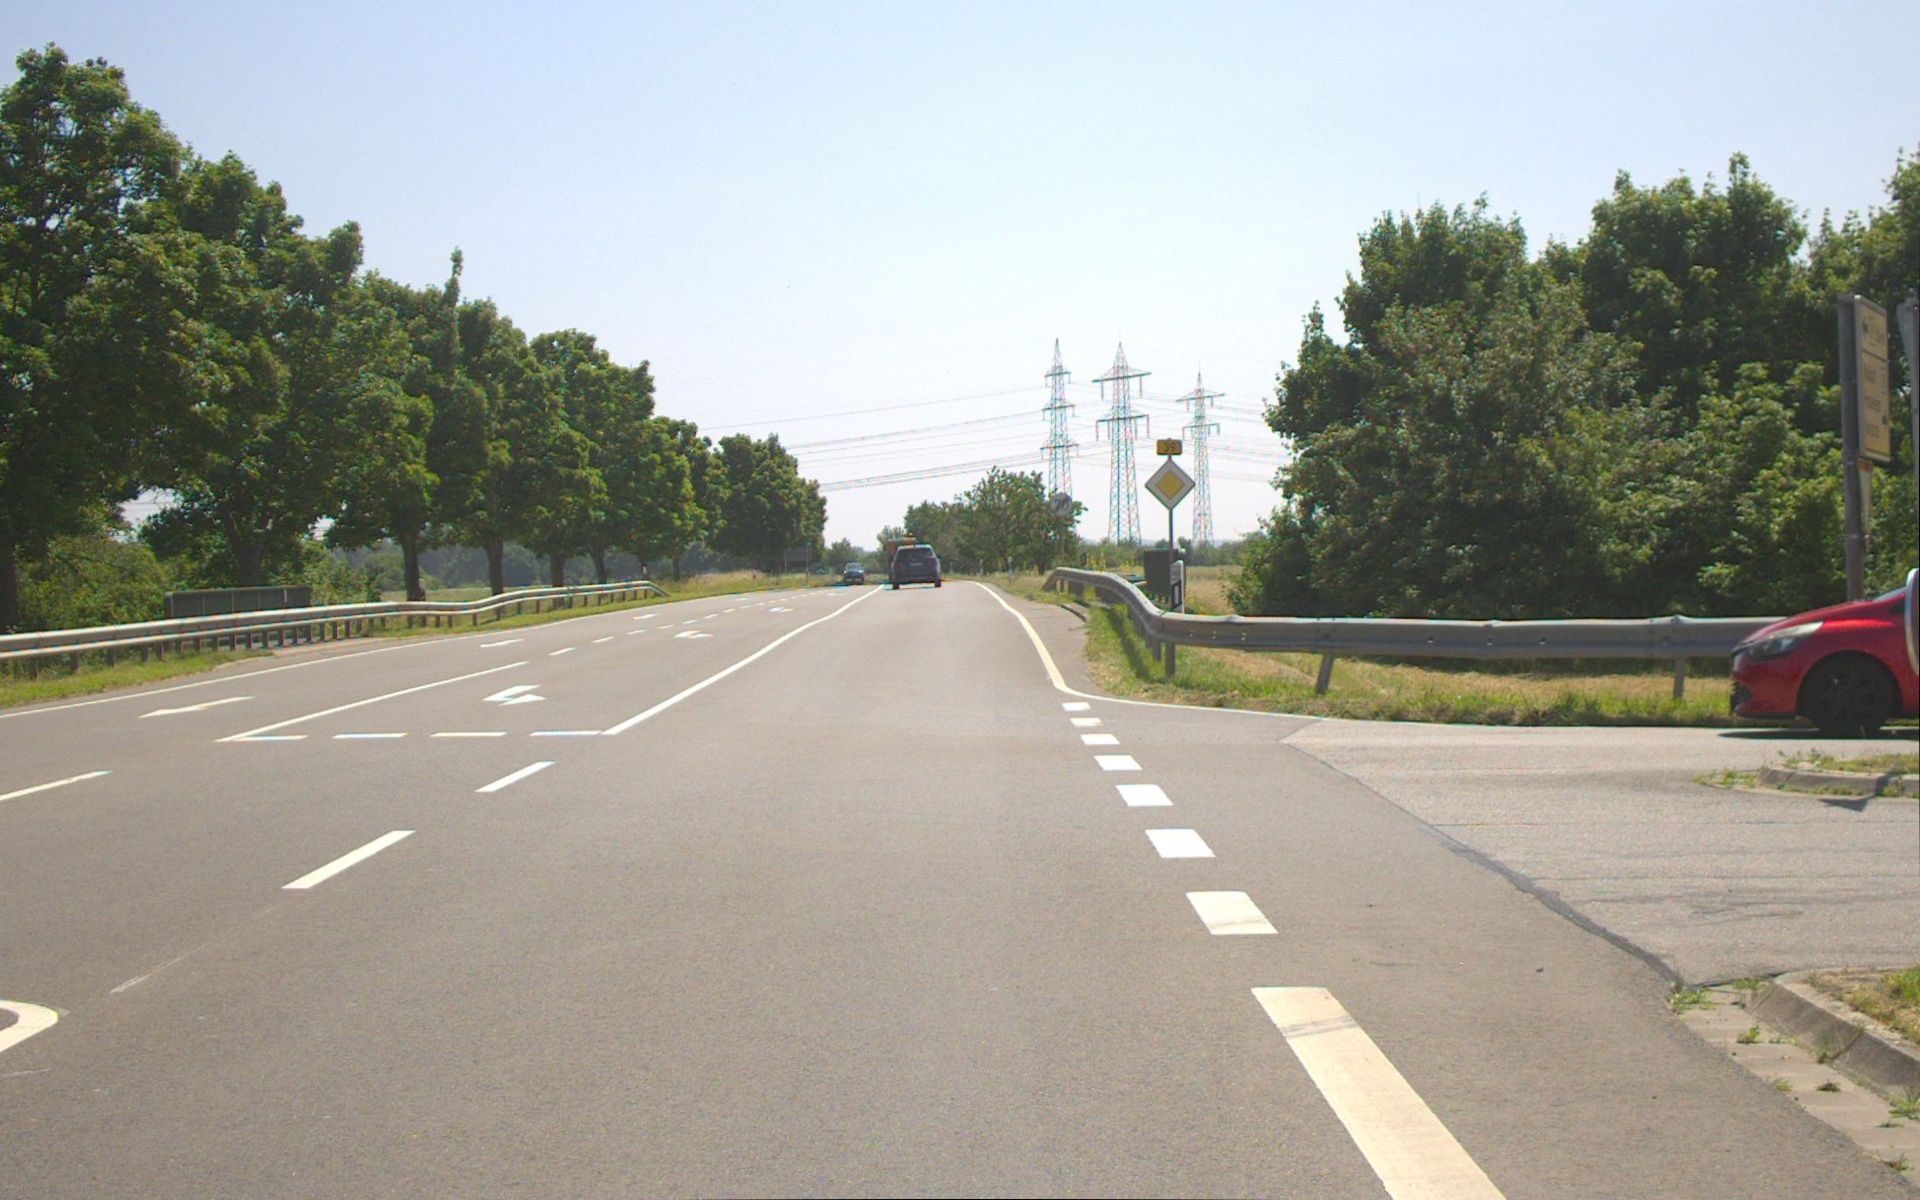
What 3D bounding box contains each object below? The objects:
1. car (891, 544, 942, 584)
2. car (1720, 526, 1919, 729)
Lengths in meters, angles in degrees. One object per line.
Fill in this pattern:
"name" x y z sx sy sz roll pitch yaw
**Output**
"car" -1.692 -1.397 133.172 1.884 1.513 4.040 1 1 -2
"car" 7.612 0.179 24.731 4.155 1.414 1.778 0 0 13
